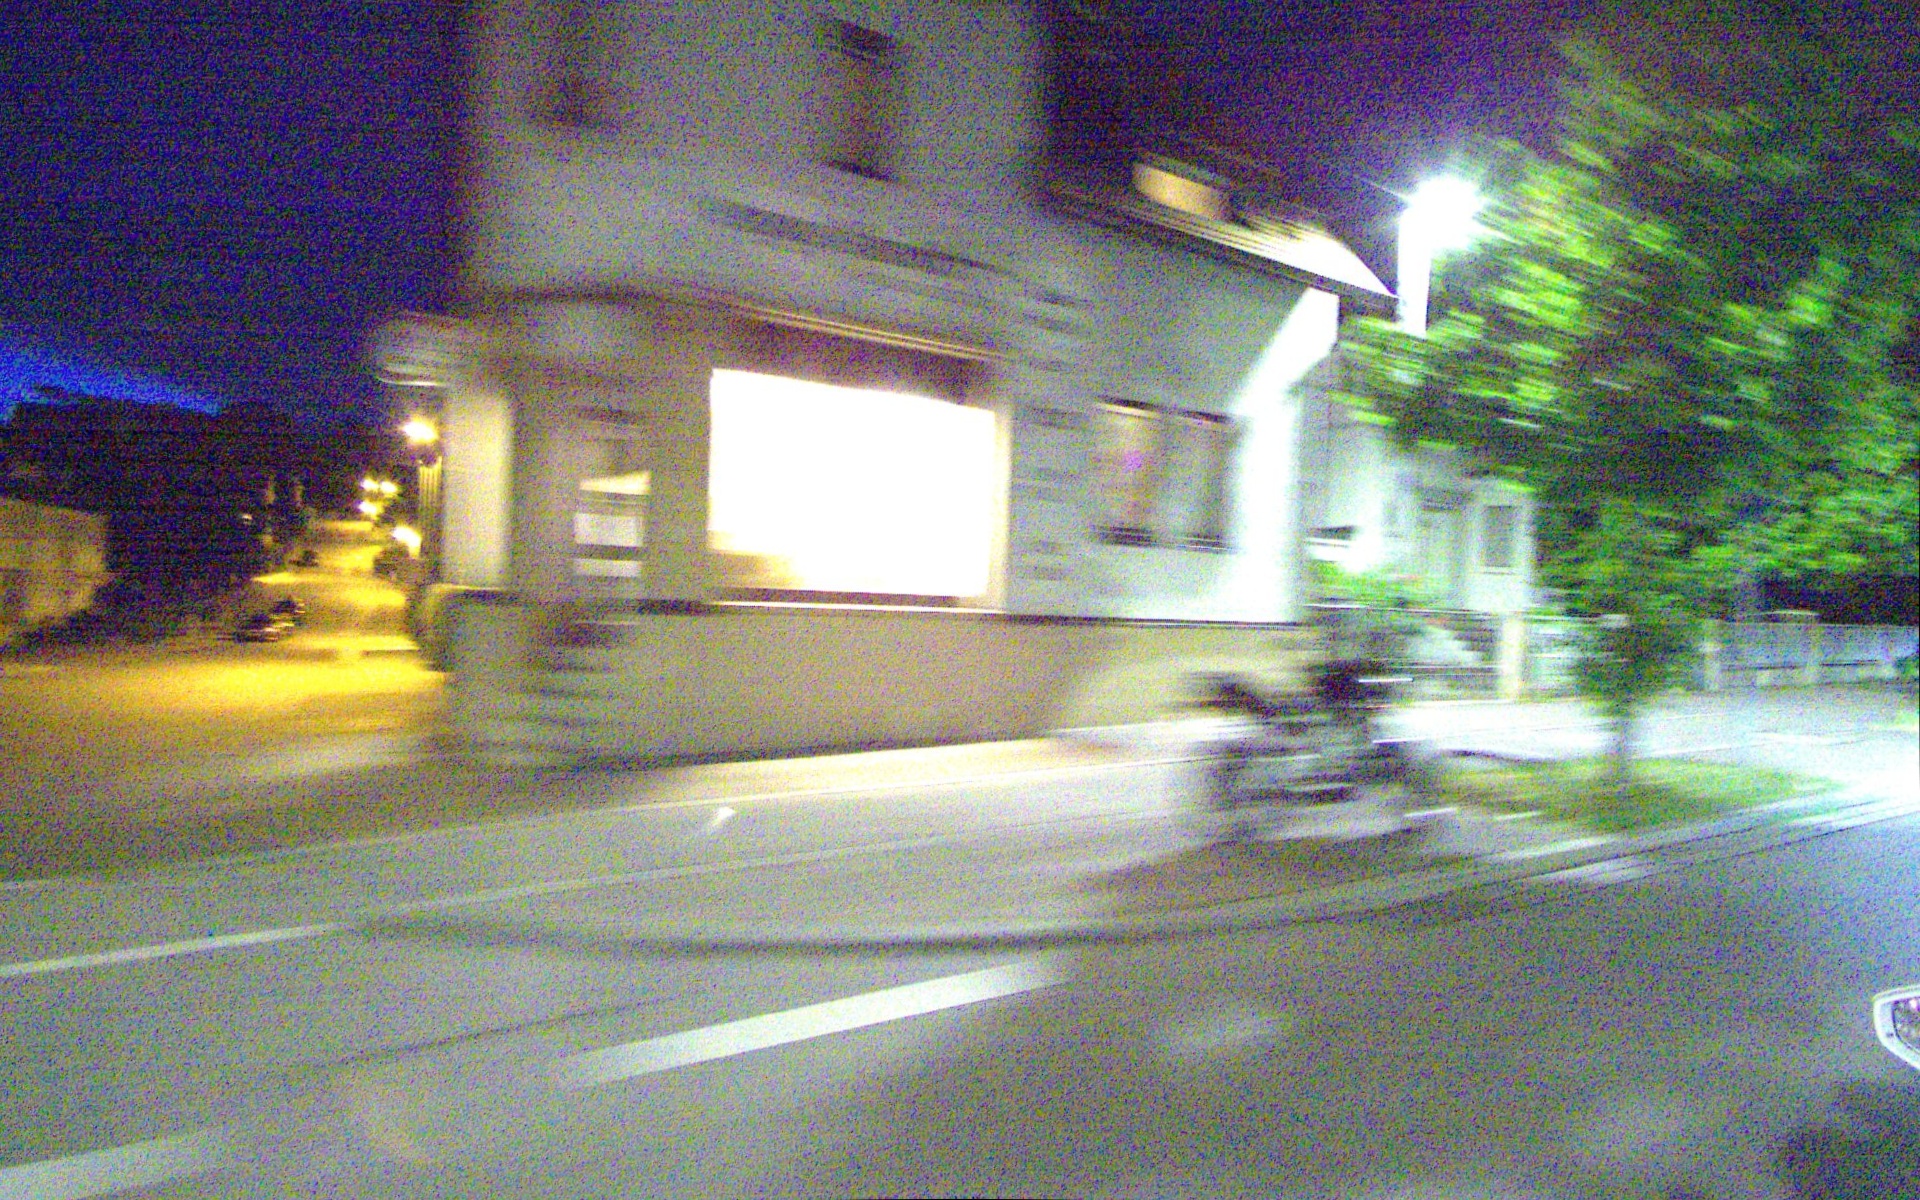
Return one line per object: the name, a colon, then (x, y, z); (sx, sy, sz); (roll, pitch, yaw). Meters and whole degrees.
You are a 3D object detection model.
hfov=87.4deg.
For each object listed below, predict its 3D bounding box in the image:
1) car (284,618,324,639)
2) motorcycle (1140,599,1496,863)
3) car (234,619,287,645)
car: (-45.406, 1.945, 69.618); (1.976, 1.372, 4.690); (1, -2, -30)
motorcycle: (2.282, 0.753, 6.370); (2.163, 1.471, 0.744); (1, 0, -22)
car: (-38.248, 1.715, 55.016); (1.976, 1.372, 4.191); (1, -2, -30)
